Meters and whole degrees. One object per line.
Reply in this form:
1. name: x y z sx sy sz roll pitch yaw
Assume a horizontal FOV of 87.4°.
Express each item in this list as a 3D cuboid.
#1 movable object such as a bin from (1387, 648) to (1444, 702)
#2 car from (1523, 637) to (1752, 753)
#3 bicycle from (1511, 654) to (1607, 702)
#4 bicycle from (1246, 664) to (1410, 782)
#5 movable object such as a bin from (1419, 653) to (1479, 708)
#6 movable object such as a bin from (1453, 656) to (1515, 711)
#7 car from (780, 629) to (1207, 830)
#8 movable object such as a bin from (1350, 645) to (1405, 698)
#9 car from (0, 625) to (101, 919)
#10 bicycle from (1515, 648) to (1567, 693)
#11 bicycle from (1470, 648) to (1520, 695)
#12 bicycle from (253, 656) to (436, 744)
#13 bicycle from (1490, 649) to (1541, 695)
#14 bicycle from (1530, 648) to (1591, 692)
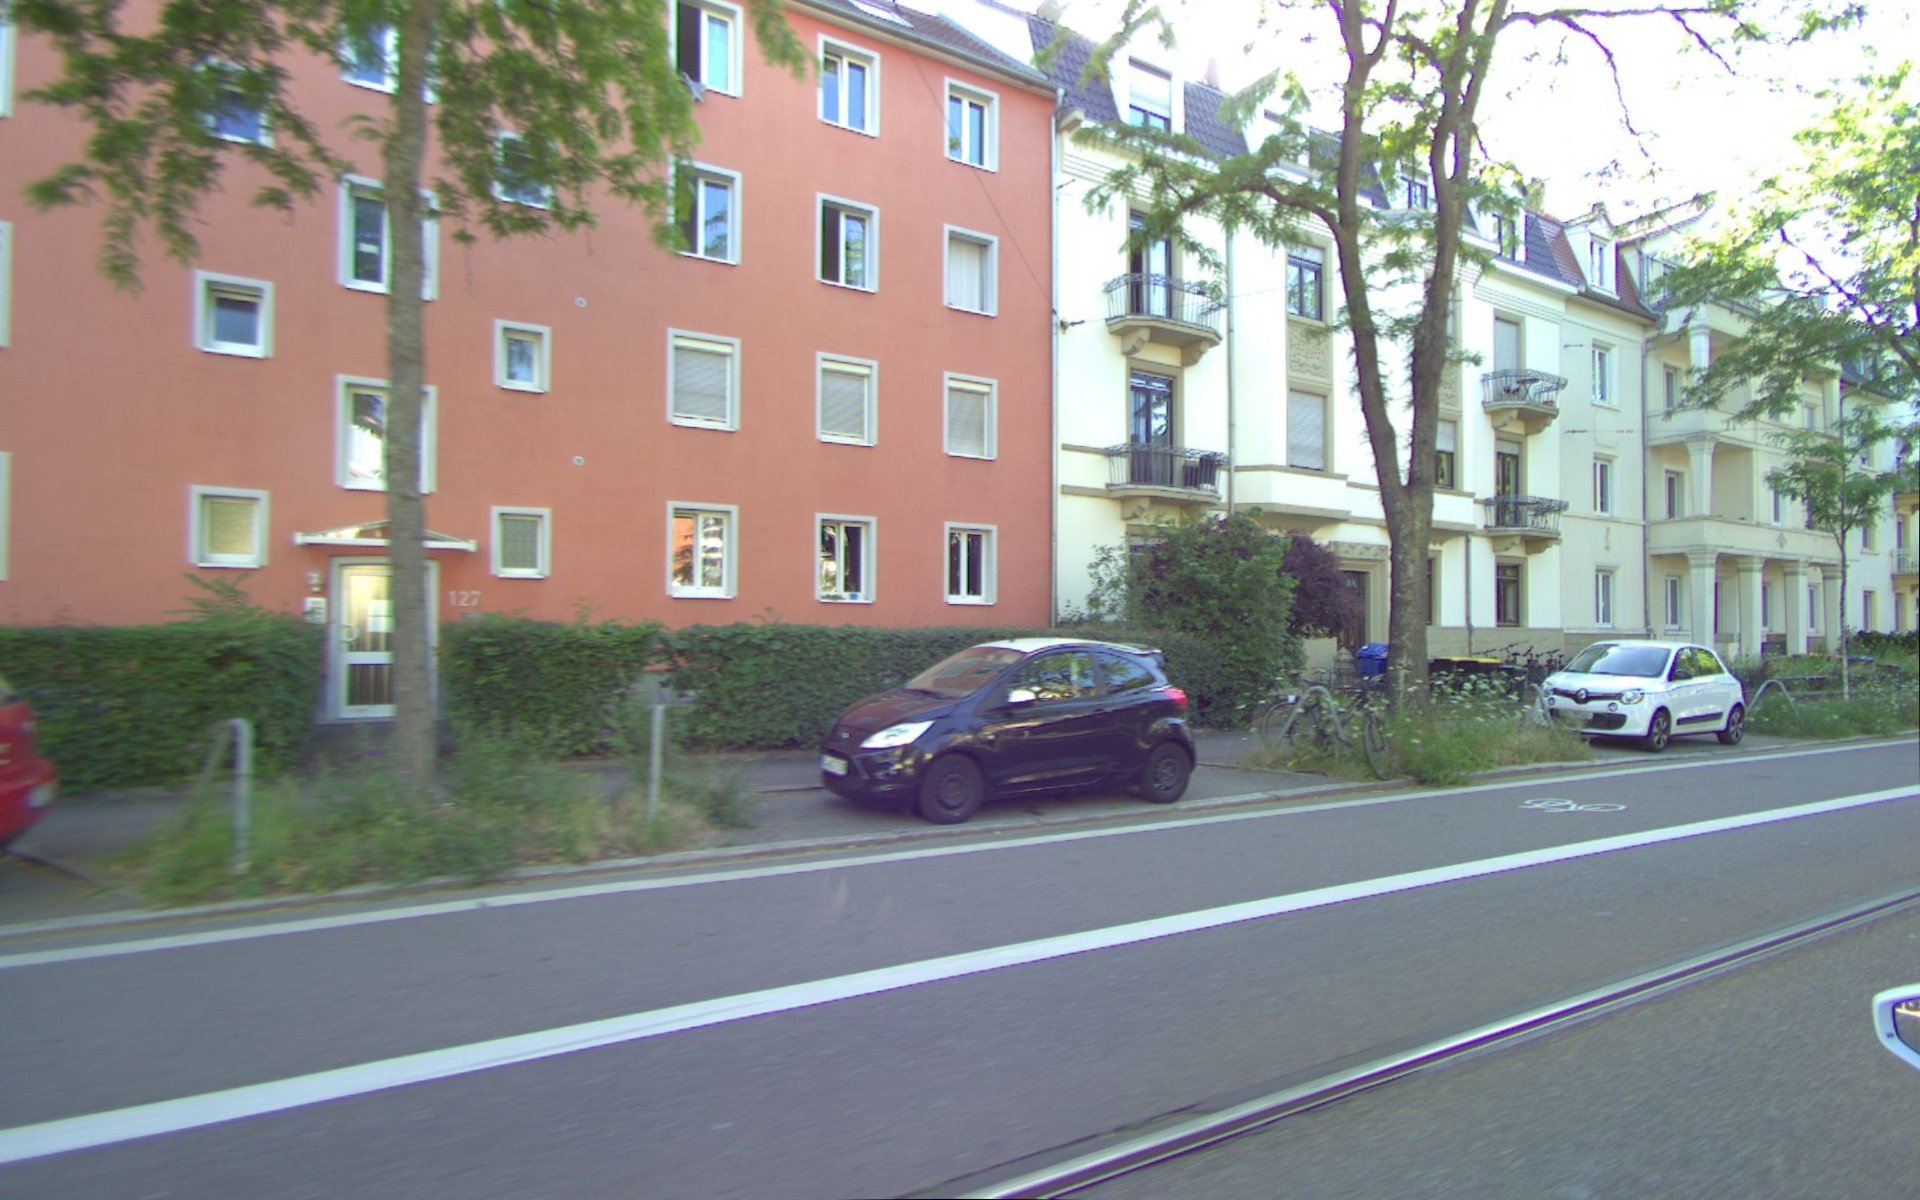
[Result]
1. movable object such as a bin: 9.614 1.578 21.199 0.885 1.099 0.734 2 -2 -31
2. car: 10.482 1.374 15.488 3.649 1.555 1.616 2 -1 -33
3. bicycle: 13.500 1.741 22.686 1.830 1.009 0.557 -1 -2 31
4. bicycle: 4.052 1.315 11.196 0.536 1.136 1.804 1 -2 -29
5. movable object such as a bin: 9.995 1.631 20.538 0.885 1.067 0.734 2 -2 -31
6. movable object such as a bin: 10.359 1.639 19.881 0.885 1.055 0.734 2 -2 -31
7. car: 0.366 1.035 9.122 3.626 1.473 1.546 2 -1 -31
8. movable object such as a bin: 9.142 1.554 21.986 0.885 1.128 0.734 2 -2 -31
9. car: -6.849 0.846 4.728 4.054 1.473 1.563 2 -1 -34
10. bicycle: 14.727 1.765 25.521 0.547 1.010 1.863 0 0 11
11. bicycle: 13.080 1.735 24.593 0.547 1.010 1.863 0 0 11
12. bicycle: -7.222 1.158 11.879 1.797 0.945 0.503 2 1 -29
13. bicycle: 13.924 1.779 25.229 0.547 1.010 1.863 0 0 11
14. bicycle: 15.525 1.791 26.010 0.547 1.010 1.863 0 0 4
